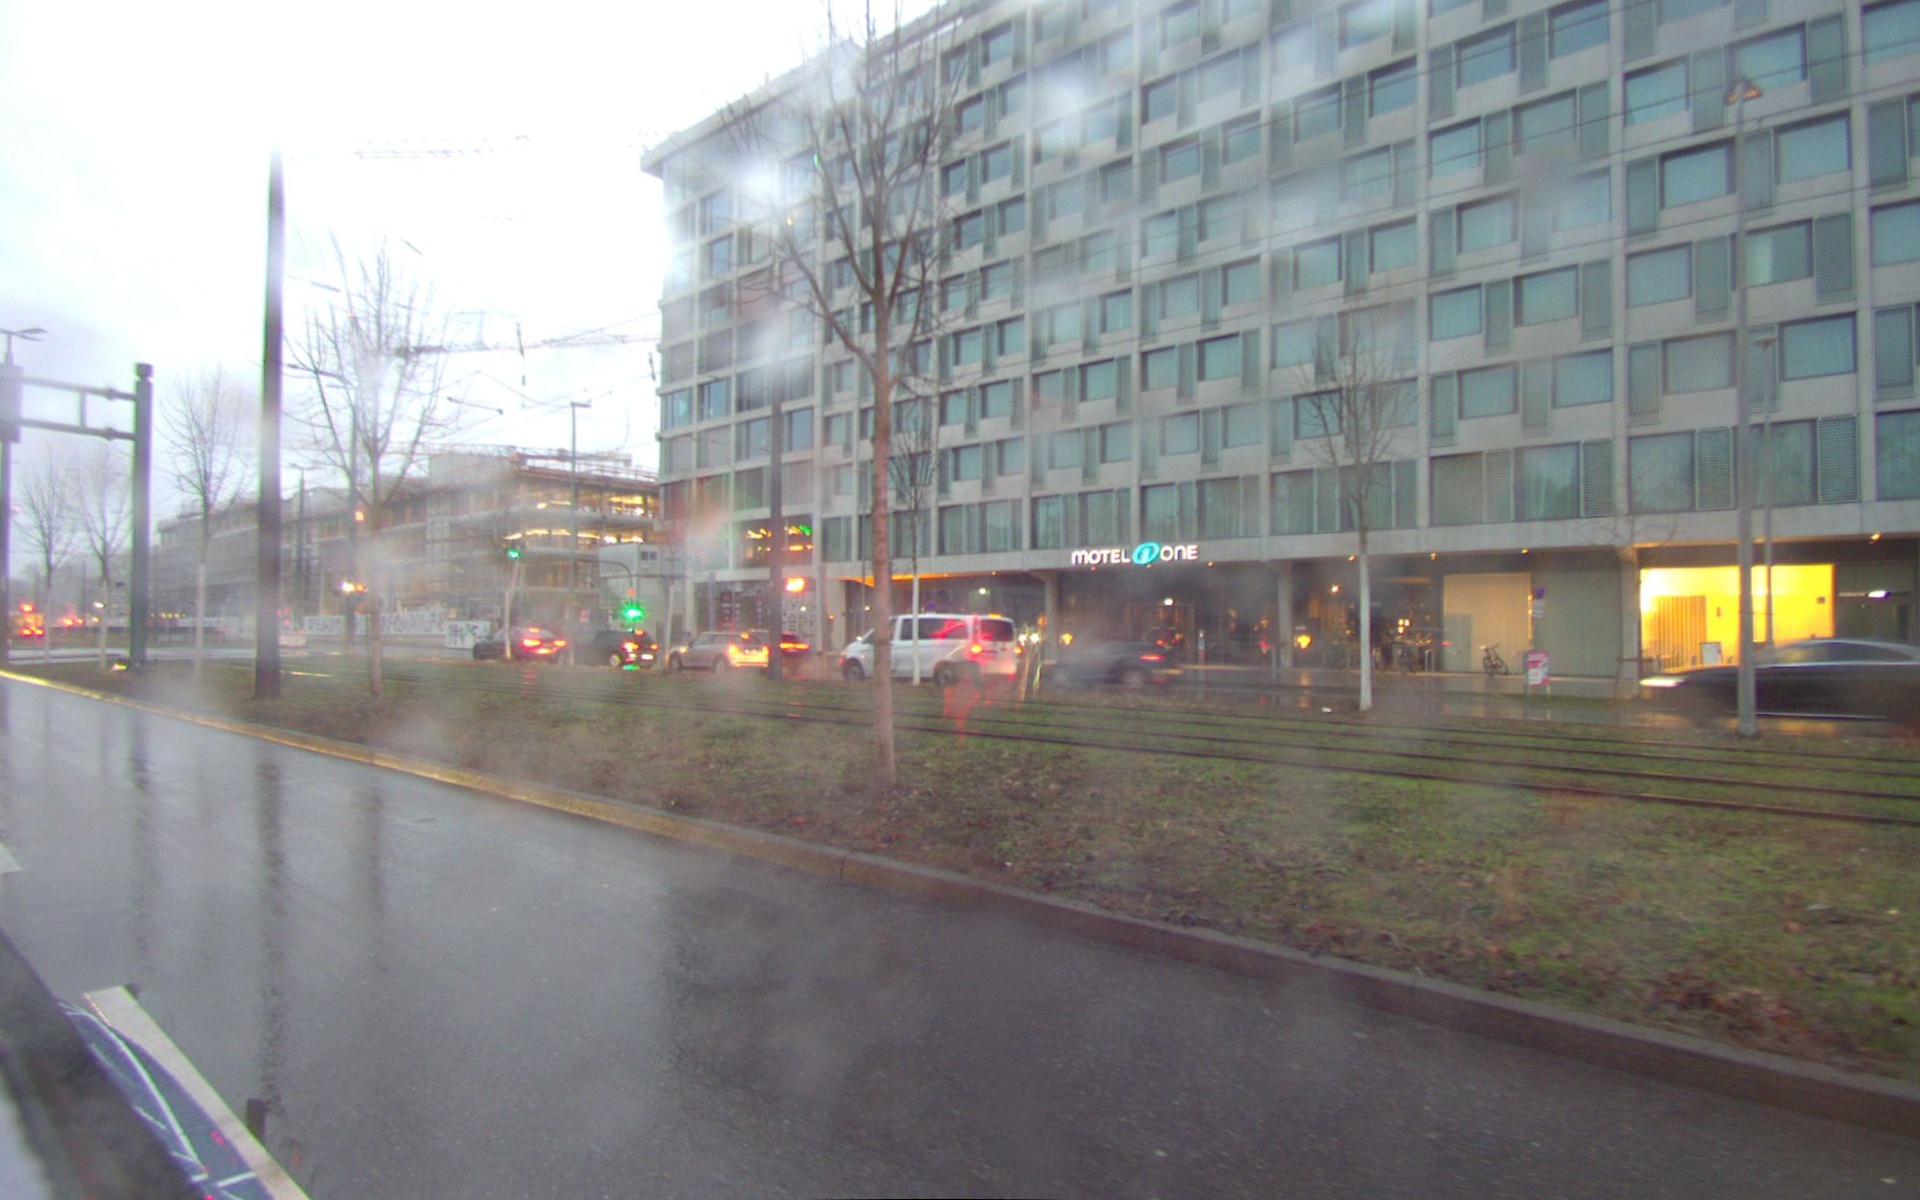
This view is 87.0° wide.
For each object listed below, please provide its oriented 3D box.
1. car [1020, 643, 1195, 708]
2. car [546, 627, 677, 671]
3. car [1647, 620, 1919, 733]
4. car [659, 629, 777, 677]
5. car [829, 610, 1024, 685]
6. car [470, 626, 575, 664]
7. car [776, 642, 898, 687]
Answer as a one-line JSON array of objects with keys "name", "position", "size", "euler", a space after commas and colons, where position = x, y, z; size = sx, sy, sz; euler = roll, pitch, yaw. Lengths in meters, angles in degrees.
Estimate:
[{"name": "car", "position": [4.270, 2.157, 29.939], "size": [4.915, 1.732, 1.876], "euler": [-2, -2, 42]}, {"name": "car", "position": [-12.681, 1.747, 36.800], "size": [4.425, 1.508, 1.983], "euler": [-1, -2, 26]}, {"name": "car", "position": [14.509, 1.207, 16.827], "size": [4.914, 1.732, 1.876], "euler": [-2, -2, 41]}, {"name": "car", "position": [-7.771, 1.650, 32.411], "size": [3.704, 1.442, 1.876], "euler": [-2, -3, 41]}, {"name": "car", "position": [-0.940, 1.176, 25.934], "size": [5.115, 1.732, 1.876], "euler": [-2, -3, 41]}, {"name": "car", "position": [-17.814, 1.797, 41.086], "size": [5.032, 1.479, 1.972], "euler": [-2, -3, 42]}, {"name": "car", "position": [-4.672, 2.380, 38.019], "size": [4.790, 1.528, 1.876], "euler": [-2, -2, 41]}]
